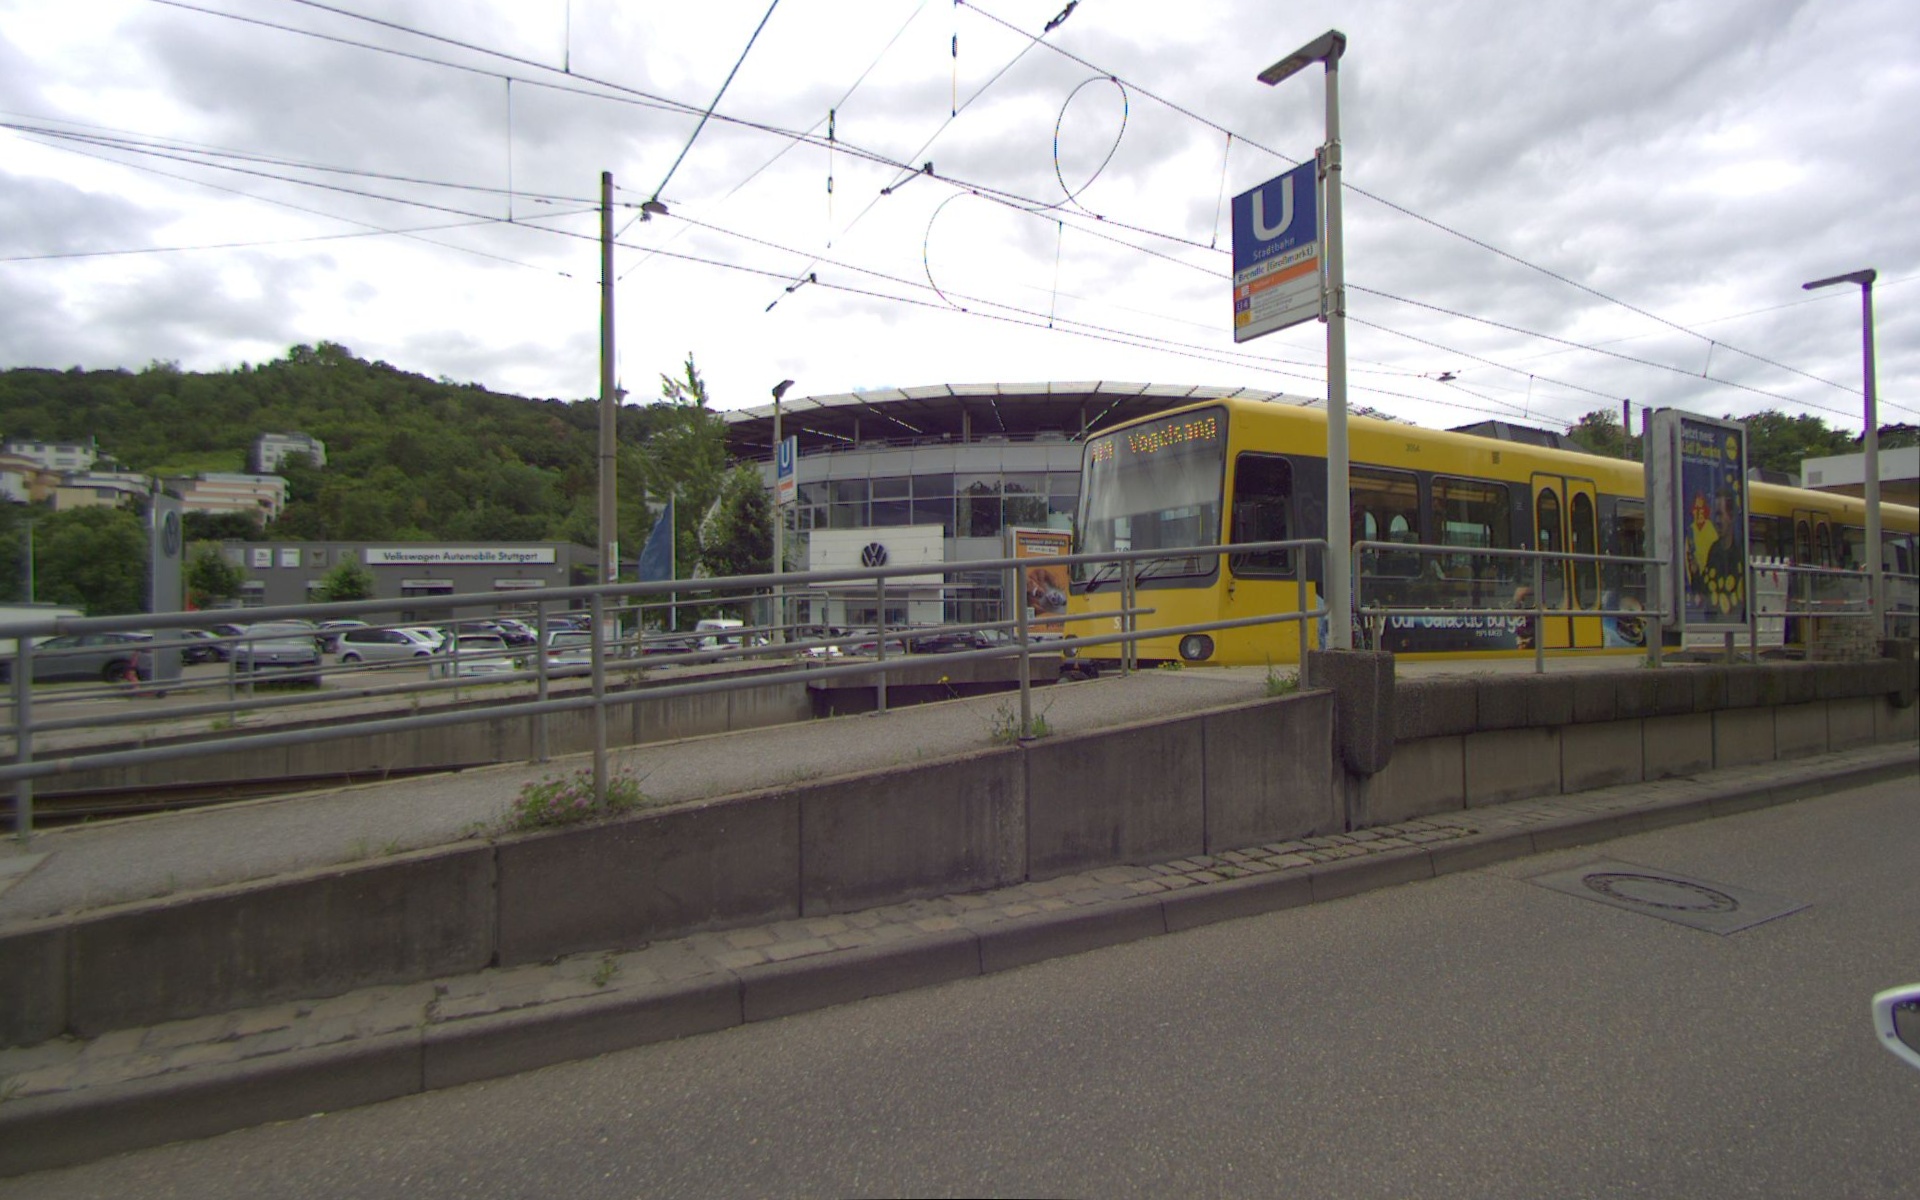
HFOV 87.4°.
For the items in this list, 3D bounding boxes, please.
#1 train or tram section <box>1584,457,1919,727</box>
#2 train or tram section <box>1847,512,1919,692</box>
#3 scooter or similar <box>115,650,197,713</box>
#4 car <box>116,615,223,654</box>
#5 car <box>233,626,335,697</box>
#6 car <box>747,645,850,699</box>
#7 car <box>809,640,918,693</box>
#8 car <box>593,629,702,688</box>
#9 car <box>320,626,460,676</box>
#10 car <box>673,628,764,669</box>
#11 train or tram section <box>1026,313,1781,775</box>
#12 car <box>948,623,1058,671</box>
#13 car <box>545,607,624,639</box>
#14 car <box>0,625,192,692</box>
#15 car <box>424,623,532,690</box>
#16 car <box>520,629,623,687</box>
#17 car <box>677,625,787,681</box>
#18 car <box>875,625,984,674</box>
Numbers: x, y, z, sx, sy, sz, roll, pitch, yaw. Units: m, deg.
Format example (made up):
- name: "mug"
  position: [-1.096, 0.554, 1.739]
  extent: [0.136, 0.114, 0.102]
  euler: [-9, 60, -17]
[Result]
- name: "train or tram section"
  position: [16.494, -0.085, 19.236]
  extent: [11.777, 4.019, 2.727]
  euler: [0, -2, -32]
- name: "train or tram section"
  position: [26.526, 0.031, 25.441]
  extent: [11.777, 4.019, 2.727]
  euler: [0, -2, -32]
- name: "scooter or similar"
  position: [-17.674, 1.793, 22.109]
  extent: [1.184, 1.304, 0.574]
  euler: [4, -4, -13]
- name: "car"
  position: [-41.511, 1.829, 52.835]
  extent: [3.925, 1.817, 1.852]
  euler: [3, -4, -6]
- name: "car"
  position: [-17.232, 1.513, 25.600]
  extent: [1.980, 1.661, 3.961]
  euler: [2, -3, -35]
- name: "car"
  position: [-5.345, 2.332, 32.851]
  extent: [1.712, 1.574, 3.961]
  euler: [5, -5, -35]
- name: "car"
  position: [-3.305, 2.216, 33.866]
  extent: [1.909, 1.574, 3.961]
  euler: [5, -5, -35]
- name: "car"
  position: [-9.321, 1.700, 29.800]
  extent: [1.909, 1.574, 3.961]
  euler: [5, -5, -35]
- name: "car"
  position: [-23.124, 2.099, 40.913]
  extent: [4.423, 1.751, 2.000]
  euler: [3, -4, -3]
- name: "car"
  position: [-10.182, 2.028, 42.228]
  extent: [1.915, 1.574, 3.949]
  euler: [6, -5, -43]
- name: "train or tram section"
  position: [6.461, -0.450, 13.010]
  extent: [11.777, 4.019, 2.727]
  euler: [0, -2, -32]
- name: "car"
  position: [1.492, 1.649, 35.930]
  extent: [1.908, 1.574, 3.961]
  euler: [-1, -1, -35]
- name: "car"
  position: [-24.429, 1.524, 65.522]
  extent: [4.429, 1.751, 1.998]
  euler: [3, -4, -9]
- name: "car"
  position: [-25.321, 1.722, 29.389]
  extent: [3.937, 1.728, 1.993]
  euler: [4, -4, -17]
- name: "car"
  position: [-13.380, 1.539, 27.794]
  extent: [1.981, 1.661, 3.961]
  euler: [5, -5, -35]
- name: "car"
  position: [-11.264, 1.636, 28.997]
  extent: [1.797, 1.495, 3.961]
  euler: [5, -5, -35]
- name: "car"
  position: [-7.168, 1.635, 31.328]
  extent: [1.909, 1.574, 3.961]
  euler: [5, -5, -35]
- name: "car"
  position: [-1.121, 1.682, 34.823]
  extent: [1.908, 1.574, 3.961]
  euler: [0, -2, -35]
